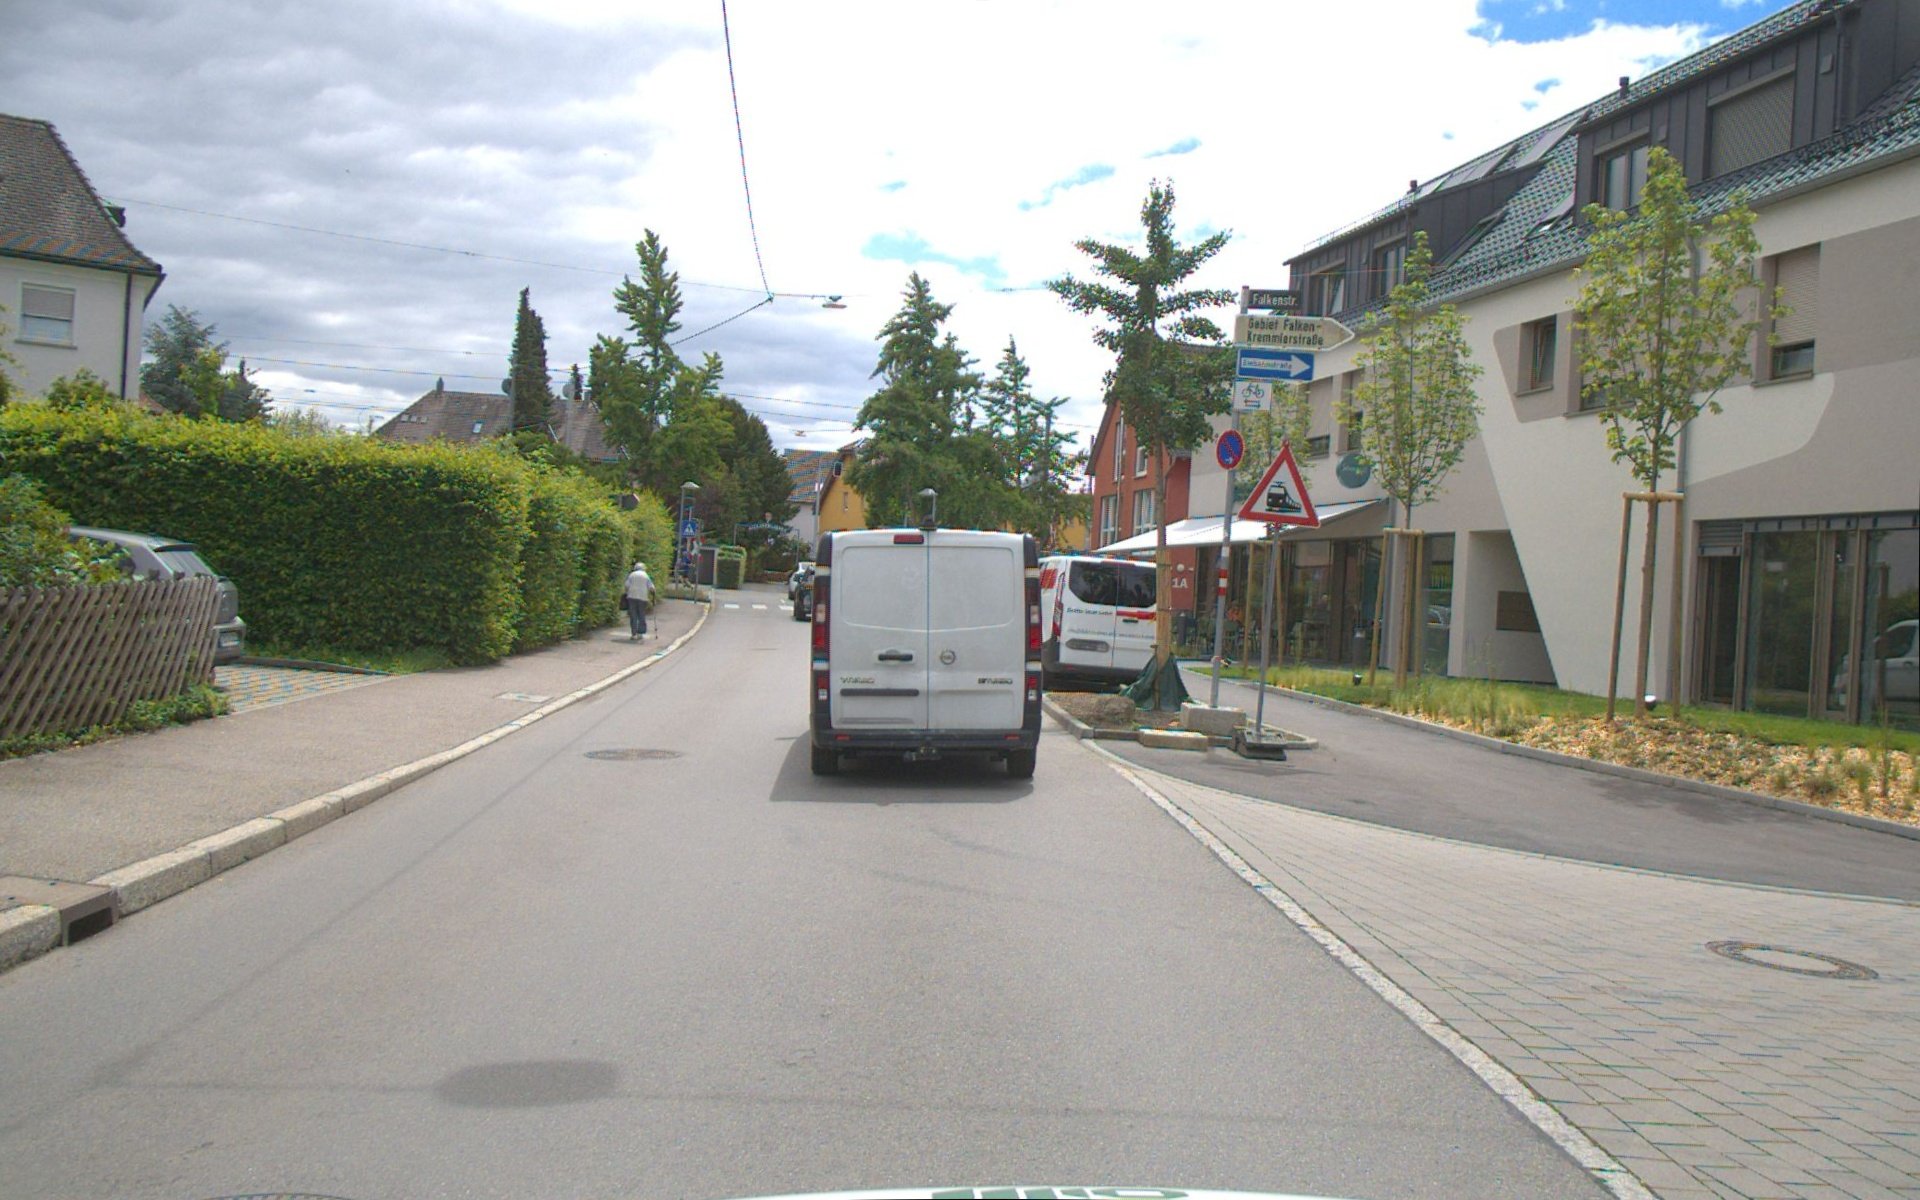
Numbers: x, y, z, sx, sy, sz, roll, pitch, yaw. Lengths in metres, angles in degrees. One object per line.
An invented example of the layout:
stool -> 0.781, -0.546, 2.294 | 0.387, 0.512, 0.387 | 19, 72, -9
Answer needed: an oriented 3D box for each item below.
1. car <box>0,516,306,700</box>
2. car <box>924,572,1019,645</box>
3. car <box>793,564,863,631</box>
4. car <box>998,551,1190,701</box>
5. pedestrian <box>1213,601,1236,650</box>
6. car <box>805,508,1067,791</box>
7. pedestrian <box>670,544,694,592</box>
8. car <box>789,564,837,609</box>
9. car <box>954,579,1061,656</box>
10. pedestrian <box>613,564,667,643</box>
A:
car -> -8.399, 0.009, 15.650 | 3.600, 1.459, 1.816 | 5, -1, -4
car -> 0.243, 0.170, 42.481 | 1.671, 1.642, 4.251 | 5, 0, -8
car -> -4.025, -0.073, 50.070 | 1.955, 1.880, 3.995 | 2, 0, -6
car -> 1.953, 0.368, 25.715 | 1.921, 1.949, 4.895 | 5, 0, -7
pedestrian -> 6.524, 0.628, 40.790 | 0.413, 1.202, 0.323 | 3, 0, -8
car -> -0.355, 0.389, 14.560 | 1.878, 2.037, 4.433 | 2, -1, -5
pedestrian -> -12.328, -1.401, 73.397 | 0.819, 2.048, 0.677 | 5, -1, -16
car -> -6.367, -0.580, 71.490 | 1.955, 1.813, 3.995 | 2, 0, -6
car -> 1.019, 0.366, 37.412 | 1.710, 1.520, 3.648 | 5, 0, -8
pedestrian -> -6.392, 0.069, 33.023 | 0.865, 1.510, 0.452 | 5, -1, -26
